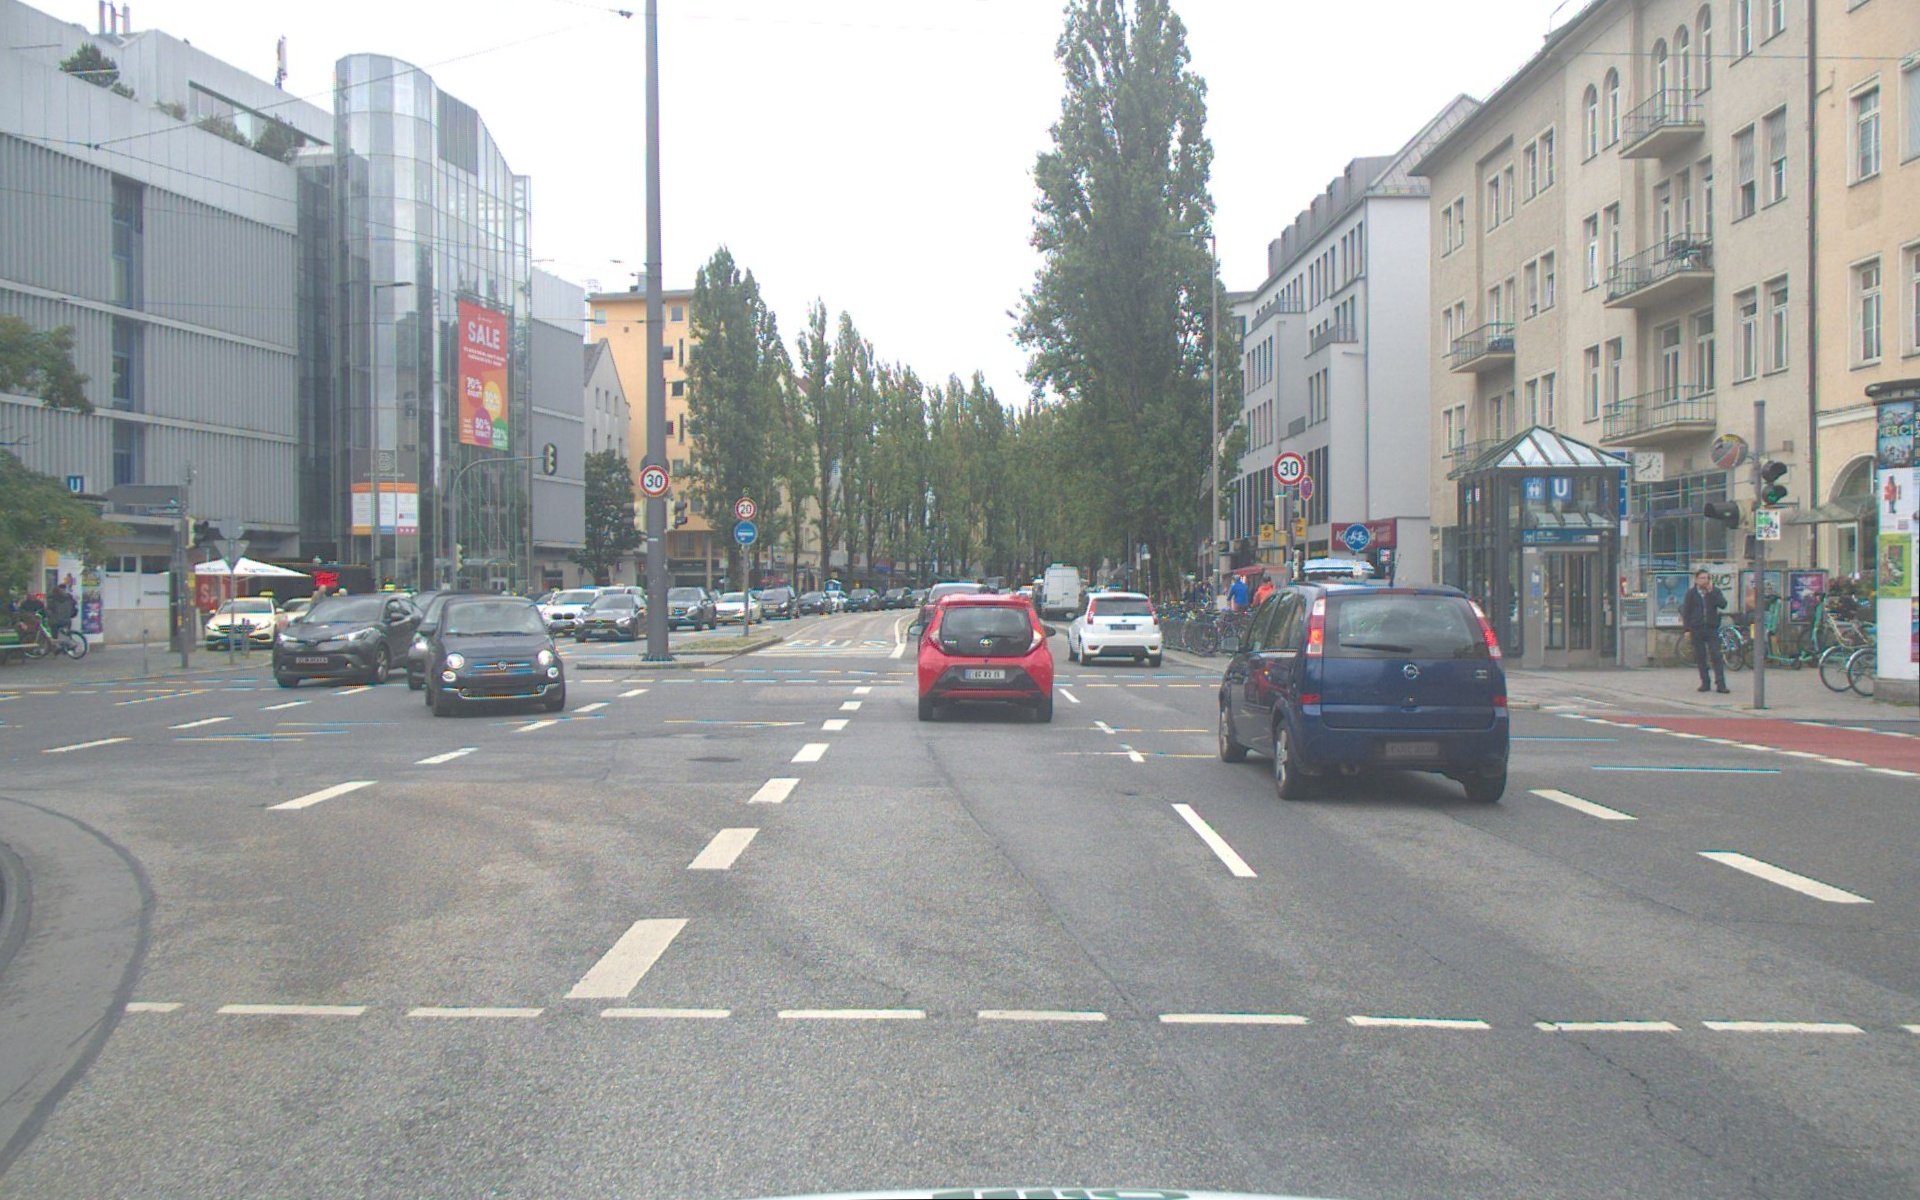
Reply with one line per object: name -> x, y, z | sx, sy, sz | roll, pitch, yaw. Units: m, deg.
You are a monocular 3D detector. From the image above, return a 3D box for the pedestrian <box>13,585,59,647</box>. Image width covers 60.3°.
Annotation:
pedestrian -> -24.052, 0.402, 43.068 | 0.756, 1.581, 0.750 | 0, 0, 30

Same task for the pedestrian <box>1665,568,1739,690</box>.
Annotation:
pedestrian -> 10.779, 0.408, 24.020 | 0.820, 1.720, 0.816 | -1, 0, 37

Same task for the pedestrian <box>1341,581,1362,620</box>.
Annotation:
pedestrian -> 16.526, 0.027, 69.819 | 0.717, 1.630, 0.742 | -1, 0, -1

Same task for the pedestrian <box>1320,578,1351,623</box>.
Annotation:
pedestrian -> 13.035, 0.020, 57.419 | 0.794, 1.548, 0.798 | -1, 0, 32

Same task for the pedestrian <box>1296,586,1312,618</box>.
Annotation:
pedestrian -> 15.186, 0.082, 73.017 | 0.586, 1.427, 0.580 | 0, 0, -1

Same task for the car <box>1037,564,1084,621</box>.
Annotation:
car -> 4.980, -0.362, 82.819 | 2.063, 2.766, 4.804 | -1, 0, 0

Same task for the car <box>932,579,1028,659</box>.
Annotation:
car -> 0.382, 0.396, 36.364 | 1.953, 1.646, 3.999 | -1, 0, -1

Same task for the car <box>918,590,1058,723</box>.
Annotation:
car -> 0.326, 0.637, 20.304 | 1.572, 1.487, 3.130 | 0, 0, 0

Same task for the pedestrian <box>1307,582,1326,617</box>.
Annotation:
pedestrian -> 16.280, -0.043, 75.591 | 0.698, 1.585, 0.676 | -1, 0, -1

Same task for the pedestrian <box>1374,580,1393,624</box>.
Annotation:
pedestrian -> 14.559, 0.079, 56.841 | 0.497, 1.510, 0.463 | -1, 0, 35

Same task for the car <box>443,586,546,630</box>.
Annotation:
car -> -17.201, 0.271, 61.352 | 1.951, 1.534, 4.638 | -1, 0, 8

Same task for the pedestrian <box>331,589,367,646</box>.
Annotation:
pedestrian -> -18.597, 0.532, 50.372 | 0.754, 1.720, 0.752 | -1, 0, 4

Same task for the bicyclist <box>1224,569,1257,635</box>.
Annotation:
bicyclist -> 8.146, 0.048, 48.028 | 0.747, 1.902, 1.133 | -1, 0, 0

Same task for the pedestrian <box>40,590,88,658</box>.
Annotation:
pedestrian -> -22.651, 0.602, 41.815 | 0.754, 1.683, 0.752 | -1, 0, 10

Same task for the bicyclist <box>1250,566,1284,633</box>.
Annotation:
bicyclist -> 7.837, -0.021, 42.269 | 0.601, 1.686, 1.251 | -1, 0, 0

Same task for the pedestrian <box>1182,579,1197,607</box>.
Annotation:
pedestrian -> 13.046, -0.386, 93.972 | 0.698, 1.585, 0.676 | -1, 0, -1

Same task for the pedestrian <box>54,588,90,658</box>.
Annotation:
pedestrian -> -23.067, 0.583, 42.953 | 0.739, 1.804, 0.767 | -1, 0, -24

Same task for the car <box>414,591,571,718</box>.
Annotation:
car -> -6.245, 0.660, 21.864 | 1.525, 1.470, 3.514 | -3, 1, -23

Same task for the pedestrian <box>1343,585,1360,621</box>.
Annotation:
pedestrian -> 15.815, 0.132, 66.831 | 0.563, 1.427, 0.580 | 0, 0, -1

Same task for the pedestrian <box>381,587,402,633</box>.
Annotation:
pedestrian -> -23.188, 0.413, 67.452 | 0.545, 1.849, 0.628 | -1, 0, 10

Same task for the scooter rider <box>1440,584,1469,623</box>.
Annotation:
scooter rider -> 16.383, 0.114, 54.791 | 0.671, 1.241, 0.719 | -2, 0, -2

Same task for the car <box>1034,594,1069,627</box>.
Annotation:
car -> 4.918, 0.541, 89.117 | 1.668, 1.691, 3.556 | 0, 0, -1

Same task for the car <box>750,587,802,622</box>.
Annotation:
car -> -9.555, 0.203, 86.073 | 1.896, 1.769, 4.590 | -1, 0, 4

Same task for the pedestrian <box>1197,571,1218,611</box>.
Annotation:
pedestrian -> 11.072, -0.416, 74.066 | 0.774, 1.758, 0.763 | -1, 0, -1

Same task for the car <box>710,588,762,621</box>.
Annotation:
car -> -10.070, 0.183, 74.581 | 1.729, 1.446, 4.639 | -1, 0, 0

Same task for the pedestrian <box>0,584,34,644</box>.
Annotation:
pedestrian -> -24.027, 0.351, 42.056 | 0.743, 1.519, 0.763 | -1, 0, -36

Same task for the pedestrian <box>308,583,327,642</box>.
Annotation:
pedestrian -> -19.585, 0.385, 50.413 | 0.438, 1.790, 0.354 | 0, 0, 35

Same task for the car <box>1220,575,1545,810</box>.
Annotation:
car -> 3.209, 0.634, 13.251 | 1.668, 1.617, 3.556 | 0, 0, -1

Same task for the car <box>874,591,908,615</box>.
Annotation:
car -> -5.141, 0.199, 124.524 | 1.951, 1.721, 4.924 | -1, 0, 5

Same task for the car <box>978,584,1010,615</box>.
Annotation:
car -> 2.103, -0.021, 102.895 | 1.952, 1.870, 4.000 | 0, 0, 1

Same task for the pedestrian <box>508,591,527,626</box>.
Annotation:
pedestrian -> -21.652, 0.418, 80.869 | 0.637, 1.721, 0.712 | -1, 0, 12

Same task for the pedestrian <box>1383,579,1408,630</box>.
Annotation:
pedestrian -> 14.687, 0.162, 55.771 | 0.590, 1.699, 0.683 | -1, 0, 34

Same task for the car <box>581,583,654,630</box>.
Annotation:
car -> -16.182, 0.276, 78.439 | 1.952, 2.048, 5.526 | -1, 1, 3

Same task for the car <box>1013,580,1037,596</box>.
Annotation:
car -> 7.174, -1.376, 182.046 | 1.951, 1.721, 4.418 | -1, 0, 12

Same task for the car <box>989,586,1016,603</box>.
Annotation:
car -> 4.370, -0.551, 169.093 | 1.951, 1.721, 4.418 | -1, 0, 12

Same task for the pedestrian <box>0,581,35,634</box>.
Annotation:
pedestrian -> -23.637, 0.174, 41.235 | 0.533, 1.297, 1.044 | -1, 0, 0

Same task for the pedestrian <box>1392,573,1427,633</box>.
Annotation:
pedestrian -> 13.350, 0.080, 49.104 | 0.796, 1.758, 0.758 | -2, 0, -1

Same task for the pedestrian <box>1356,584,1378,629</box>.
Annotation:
pedestrian -> 13.875, 0.230, 56.410 | 0.568, 1.531, 0.615 | -1, 0, 31

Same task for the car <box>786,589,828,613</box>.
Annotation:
car -> -9.069, 0.064, 98.257 | 1.806, 1.406, 4.602 | 0, 0, 3

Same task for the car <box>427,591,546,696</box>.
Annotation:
car -> -7.455, 0.648, 26.241 | 1.475, 1.561, 2.831 | -1, 0, -9

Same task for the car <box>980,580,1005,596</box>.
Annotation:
car -> 3.527, -1.318, 179.905 | 1.951, 1.721, 4.418 | -1, 0, 12

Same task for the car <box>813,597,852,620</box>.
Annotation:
car -> -9.093, 0.581, 118.036 | 1.951, 1.561, 4.469 | -1, 0, 7
